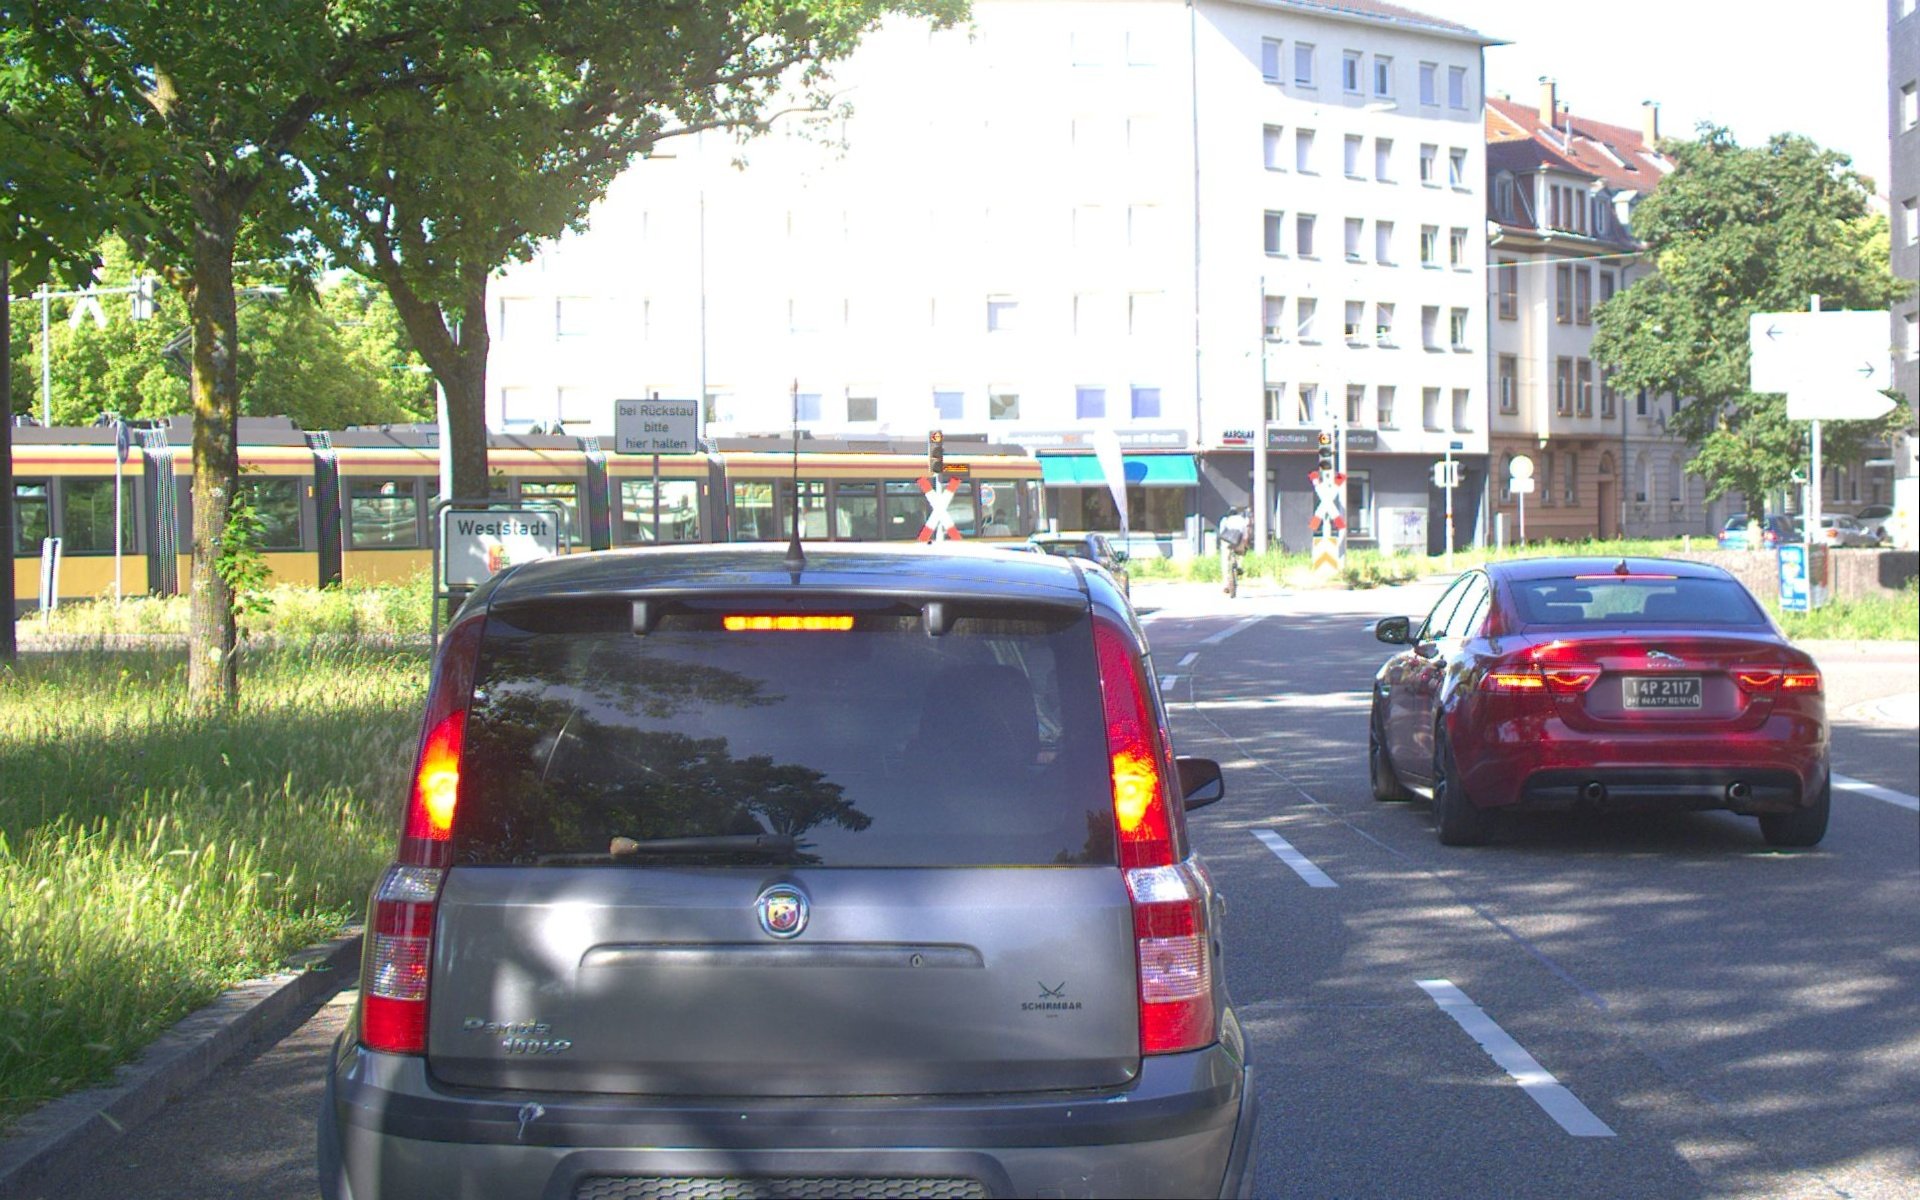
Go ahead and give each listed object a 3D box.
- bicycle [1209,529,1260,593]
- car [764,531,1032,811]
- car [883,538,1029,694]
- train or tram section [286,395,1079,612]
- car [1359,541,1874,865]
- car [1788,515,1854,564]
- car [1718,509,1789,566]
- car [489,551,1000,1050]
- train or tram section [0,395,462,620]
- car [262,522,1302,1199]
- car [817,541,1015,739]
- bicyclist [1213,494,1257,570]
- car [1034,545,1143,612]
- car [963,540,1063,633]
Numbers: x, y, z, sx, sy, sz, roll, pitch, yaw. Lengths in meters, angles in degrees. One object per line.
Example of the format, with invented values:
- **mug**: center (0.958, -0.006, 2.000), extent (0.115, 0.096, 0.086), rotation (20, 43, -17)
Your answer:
- **bicycle**: center (5.280, -0.749, 66.240), extent (0.708, 1.194, 2.520), rotation (1, 1, -2)
- **car**: center (-0.359, 0.354, 20.686), extent (1.463, 1.503, 3.505), rotation (0, 2, -1)
- **car**: center (-0.060, 0.122, 33.869), extent (1.356, 1.444, 3.266), rotation (-1, 1, -1)
- **train or tram section**: center (-4.696, -1.950, 69.003), extent (3.302, 3.757, 20.768), rotation (0, 2, 35)
- **car**: center (3.256, 0.433, 17.921), extent (1.887, 1.423, 4.387), rotation (0, 2, 1)
- **car**: center (23.560, -1.659, 94.023), extent (1.528, 1.310, 3.285), rotation (0, 1, 18)
- **car**: center (20.883, -1.656, 90.396), extent (1.683, 1.444, 3.569), rotation (0, 1, 15)
- **car**: center (-0.642, 0.558, 11.646), extent (1.463, 1.396, 3.393), rotation (0, 1, -1)
- **train or tram section**: center (-16.433, -1.440, 54.238), extent (3.304, 3.501, 19.337), rotation (1, 2, 42)
- **car**: center (-0.299, 0.595, 7.425), extent (1.628, 1.503, 4.000), rotation (-1, 1, -1)
- **car**: center (-0.344, 0.269, 27.215), extent (1.463, 1.420, 3.381), rotation (0, 2, -1)
- **bicyclist**: center (5.292, -1.306, 66.124), extent (0.741, 1.433, 0.845), rotation (1, 0, -1)
- **car**: center (2.172, -0.368, 57.676), extent (1.143, 1.060, 2.719), rotation (0, 1, 17)
- **car**: center (0.750, -0.211, 49.608), extent (1.356, 1.277, 2.876), rotation (0, 1, -1)
